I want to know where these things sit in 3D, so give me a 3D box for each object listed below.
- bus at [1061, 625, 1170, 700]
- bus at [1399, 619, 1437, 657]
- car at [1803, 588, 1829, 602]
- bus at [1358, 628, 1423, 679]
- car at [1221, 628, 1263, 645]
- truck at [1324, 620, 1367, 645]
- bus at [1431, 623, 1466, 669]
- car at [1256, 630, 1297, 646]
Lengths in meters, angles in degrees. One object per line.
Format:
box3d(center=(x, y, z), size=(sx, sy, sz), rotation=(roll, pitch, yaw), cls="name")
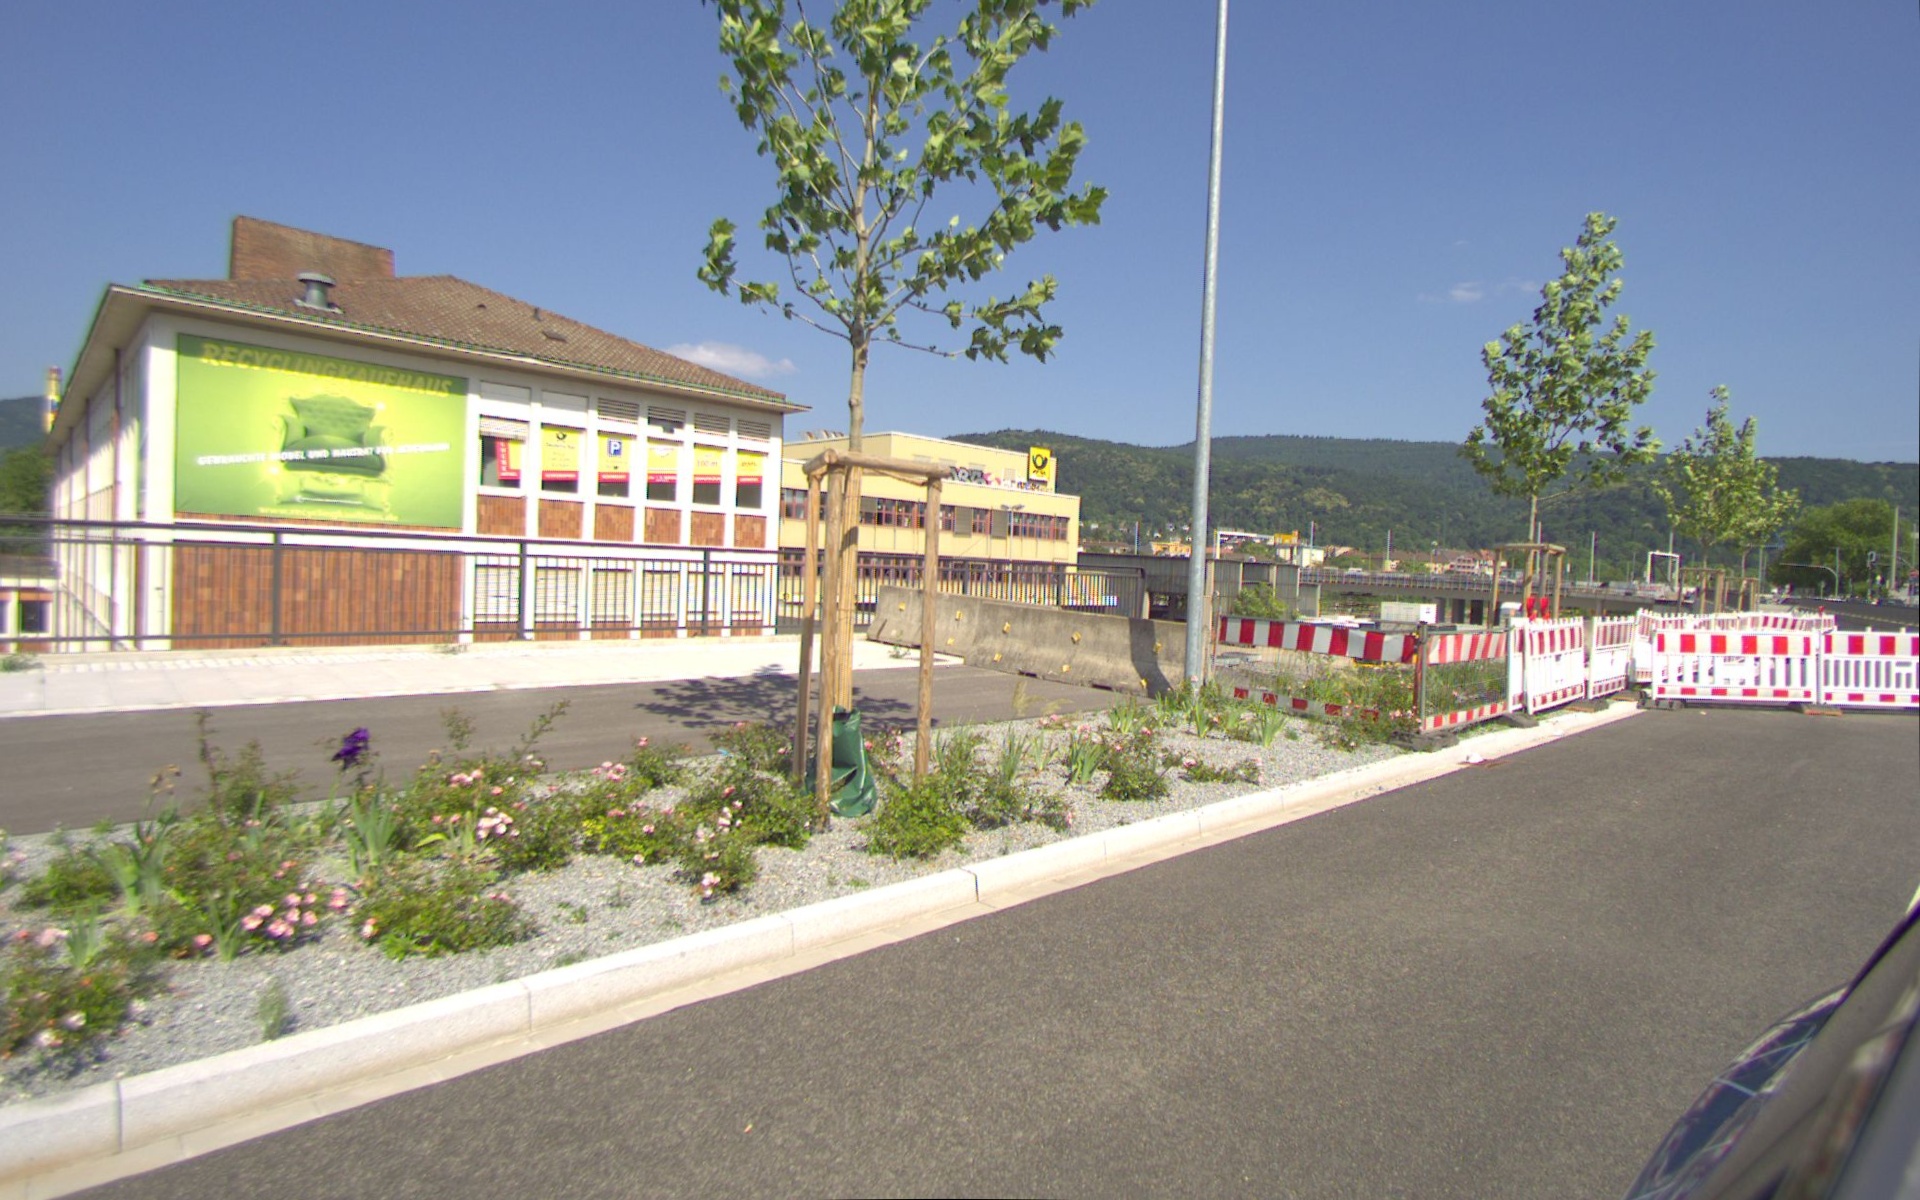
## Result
box3d(center=(10.851, 4.269, 73.730), size=(2.610, 3.810, 17.509), rotation=(1, 2, -9), cls="bus")
box3d(center=(52.242, 4.212, 115.202), size=(2.531, 3.574, 12.404), rotation=(2, 2, 31), cls="bus")
box3d(center=(95.109, -0.530, 112.505), size=(1.608, 1.459, 3.725), rotation=(3, 2, 32), cls="car")
box3d(center=(37.188, 4.448, 87.098), size=(2.535, 3.574, 12.384), rotation=(2, 2, 35), cls="bus")
box3d(center=(32.434, 4.153, 116.373), size=(1.718, 1.604, 4.358), rotation=(0, 2, -45), cls="car")
box3d(center=(49.445, 4.141, 129.648), size=(8.257, 2.791, 1.995), rotation=(-1, 2, -45), cls="truck")
box3d(center=(47.536, 4.357, 98.373), size=(2.528, 3.574, 12.419), rotation=(2, 2, 28), cls="bus")
box3d(center=(37.634, 4.471, 120.262), size=(1.718, 1.604, 4.358), rotation=(0, 2, -45), cls="car")
